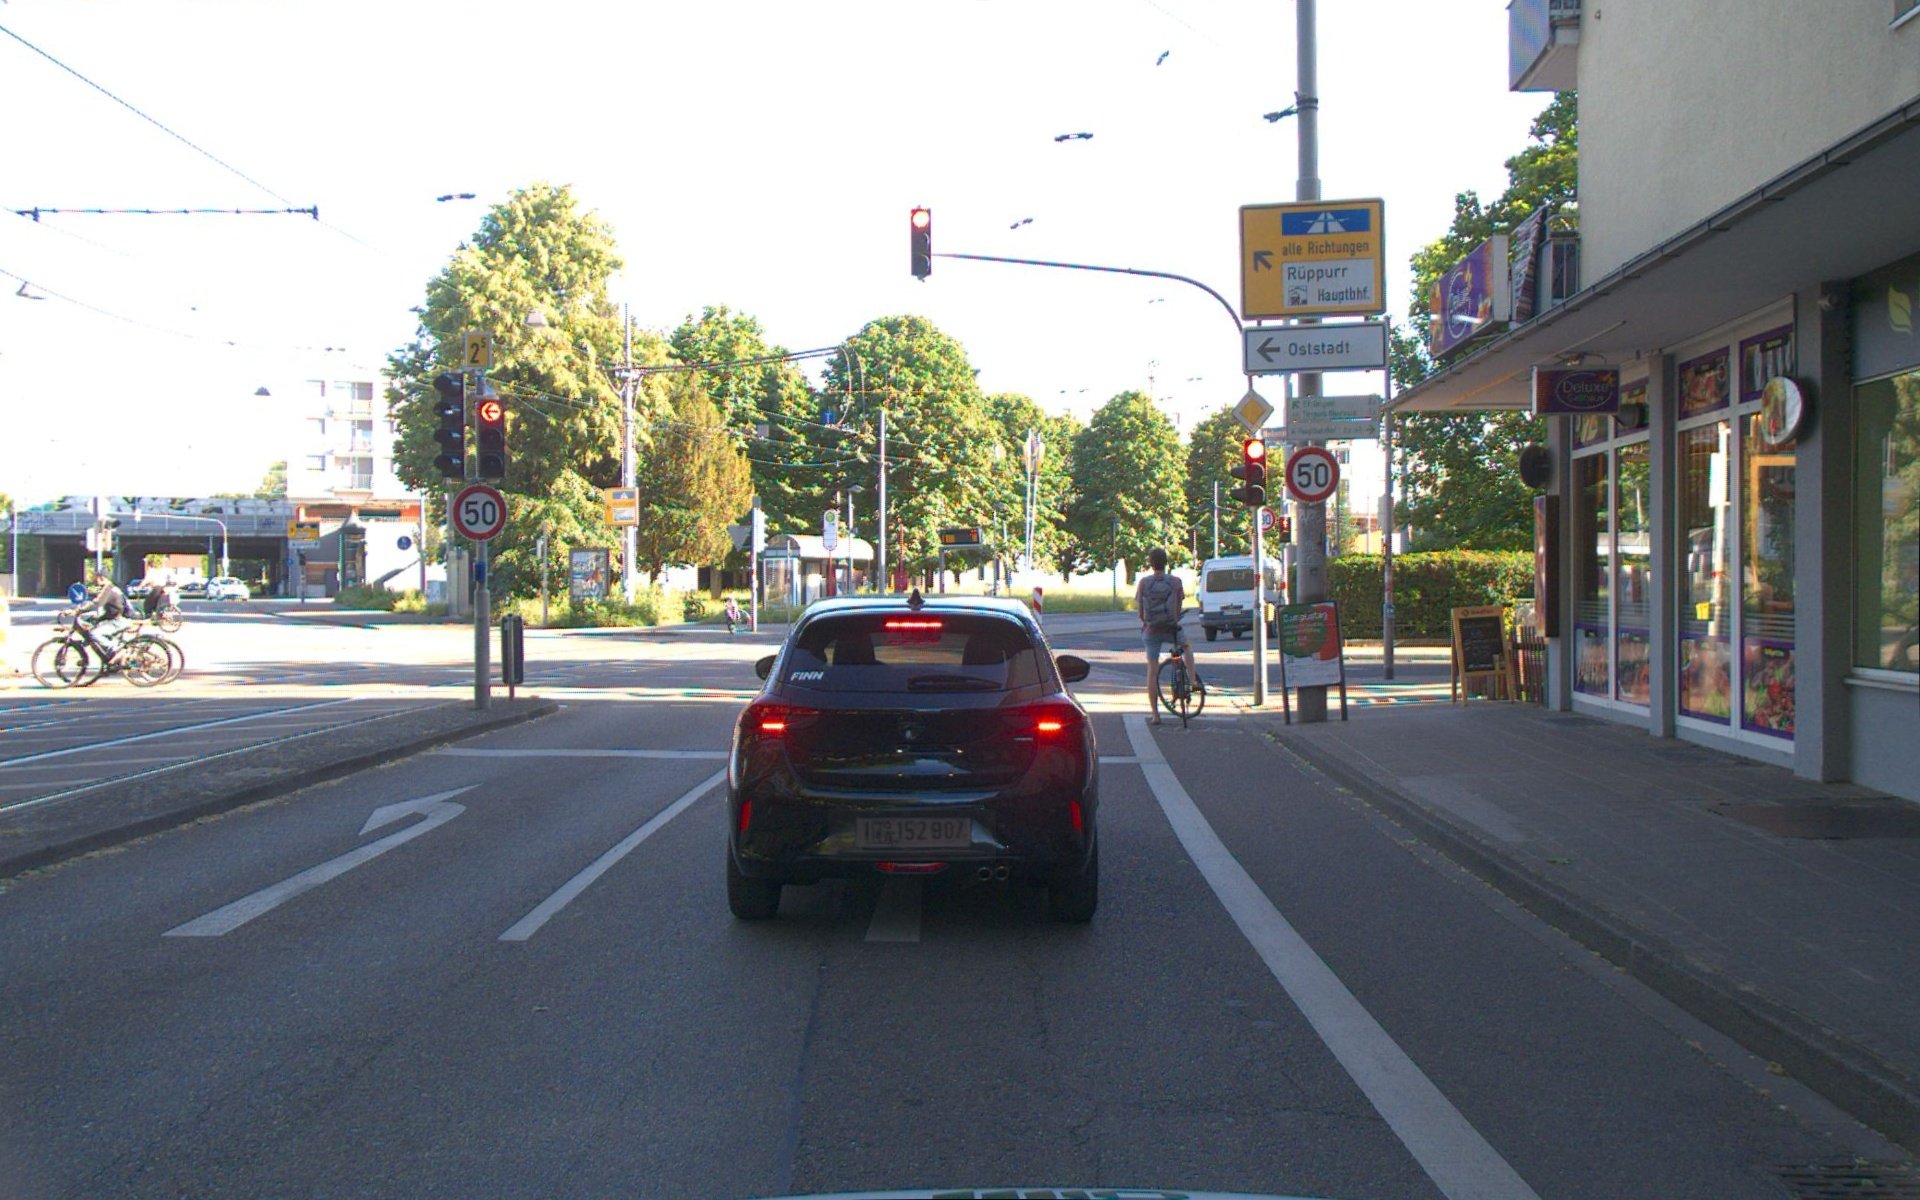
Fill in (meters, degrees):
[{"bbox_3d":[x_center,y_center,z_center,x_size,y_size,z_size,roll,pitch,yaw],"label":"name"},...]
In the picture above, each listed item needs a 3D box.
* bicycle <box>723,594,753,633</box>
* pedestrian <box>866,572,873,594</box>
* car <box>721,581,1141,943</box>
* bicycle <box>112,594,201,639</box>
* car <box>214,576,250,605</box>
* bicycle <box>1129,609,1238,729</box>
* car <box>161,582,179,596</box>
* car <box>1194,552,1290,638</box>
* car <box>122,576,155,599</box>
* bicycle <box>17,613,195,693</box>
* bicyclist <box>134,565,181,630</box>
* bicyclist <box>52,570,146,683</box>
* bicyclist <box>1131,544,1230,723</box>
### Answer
[{"bbox_3d":[-6.220,0.380,46.381,0.593,1.049,1.982,0,1,-1],"label":"bicycle"},{"bbox_3d":[-5.873,-1.114,107.566,0.404,1.437,0.436,2,0,-1],"label":"pedestrian"},{"bbox_3d":[-0.138,0.644,8.807,1.692,1.454,4.186,1,0,-1],"label":"car"},{"bbox_3d":[-20.370,0.418,41.949,2.011,1.113,0.593,0,0,7],"label":"bicycle"},{"bbox_3d":[-47.013,-0.636,106.788,1.713,1.836,4.146,-1,1,-30],"label":"car"},{"bbox_3d":[2.393,0.708,17.959,0.842,1.173,2.171,-1,1,-1],"label":"bicycle"},{"bbox_3d":[-100.158,-1.403,209.734,1.969,1.630,4.211,-1,1,-26],"label":"car"},{"bbox_3d":[8.010,-0.157,46.586,2.020,2.288,4.890,0,1,17],"label":"car"},{"bbox_3d":[-68.854,-1.077,138.652,2.183,1.855,4.117,-1,1,-23],"label":"car"},{"bbox_3d":[-12.037,0.728,23.392,2.162,1.051,0.828,-1,0,-24],"label":"bicycle"},{"bbox_3d":[-20.322,-0.059,41.897,0.843,1.623,0.650,0,0,7],"label":"bicyclist"},{"bbox_3d":[-12.126,0.352,23.333,1.098,1.547,0.915,-1,0,-24],"label":"bicyclist"},{"bbox_3d":[2.381,0.345,17.941,0.922,1.883,0.864,-1,0,-1],"label":"bicyclist"}]
